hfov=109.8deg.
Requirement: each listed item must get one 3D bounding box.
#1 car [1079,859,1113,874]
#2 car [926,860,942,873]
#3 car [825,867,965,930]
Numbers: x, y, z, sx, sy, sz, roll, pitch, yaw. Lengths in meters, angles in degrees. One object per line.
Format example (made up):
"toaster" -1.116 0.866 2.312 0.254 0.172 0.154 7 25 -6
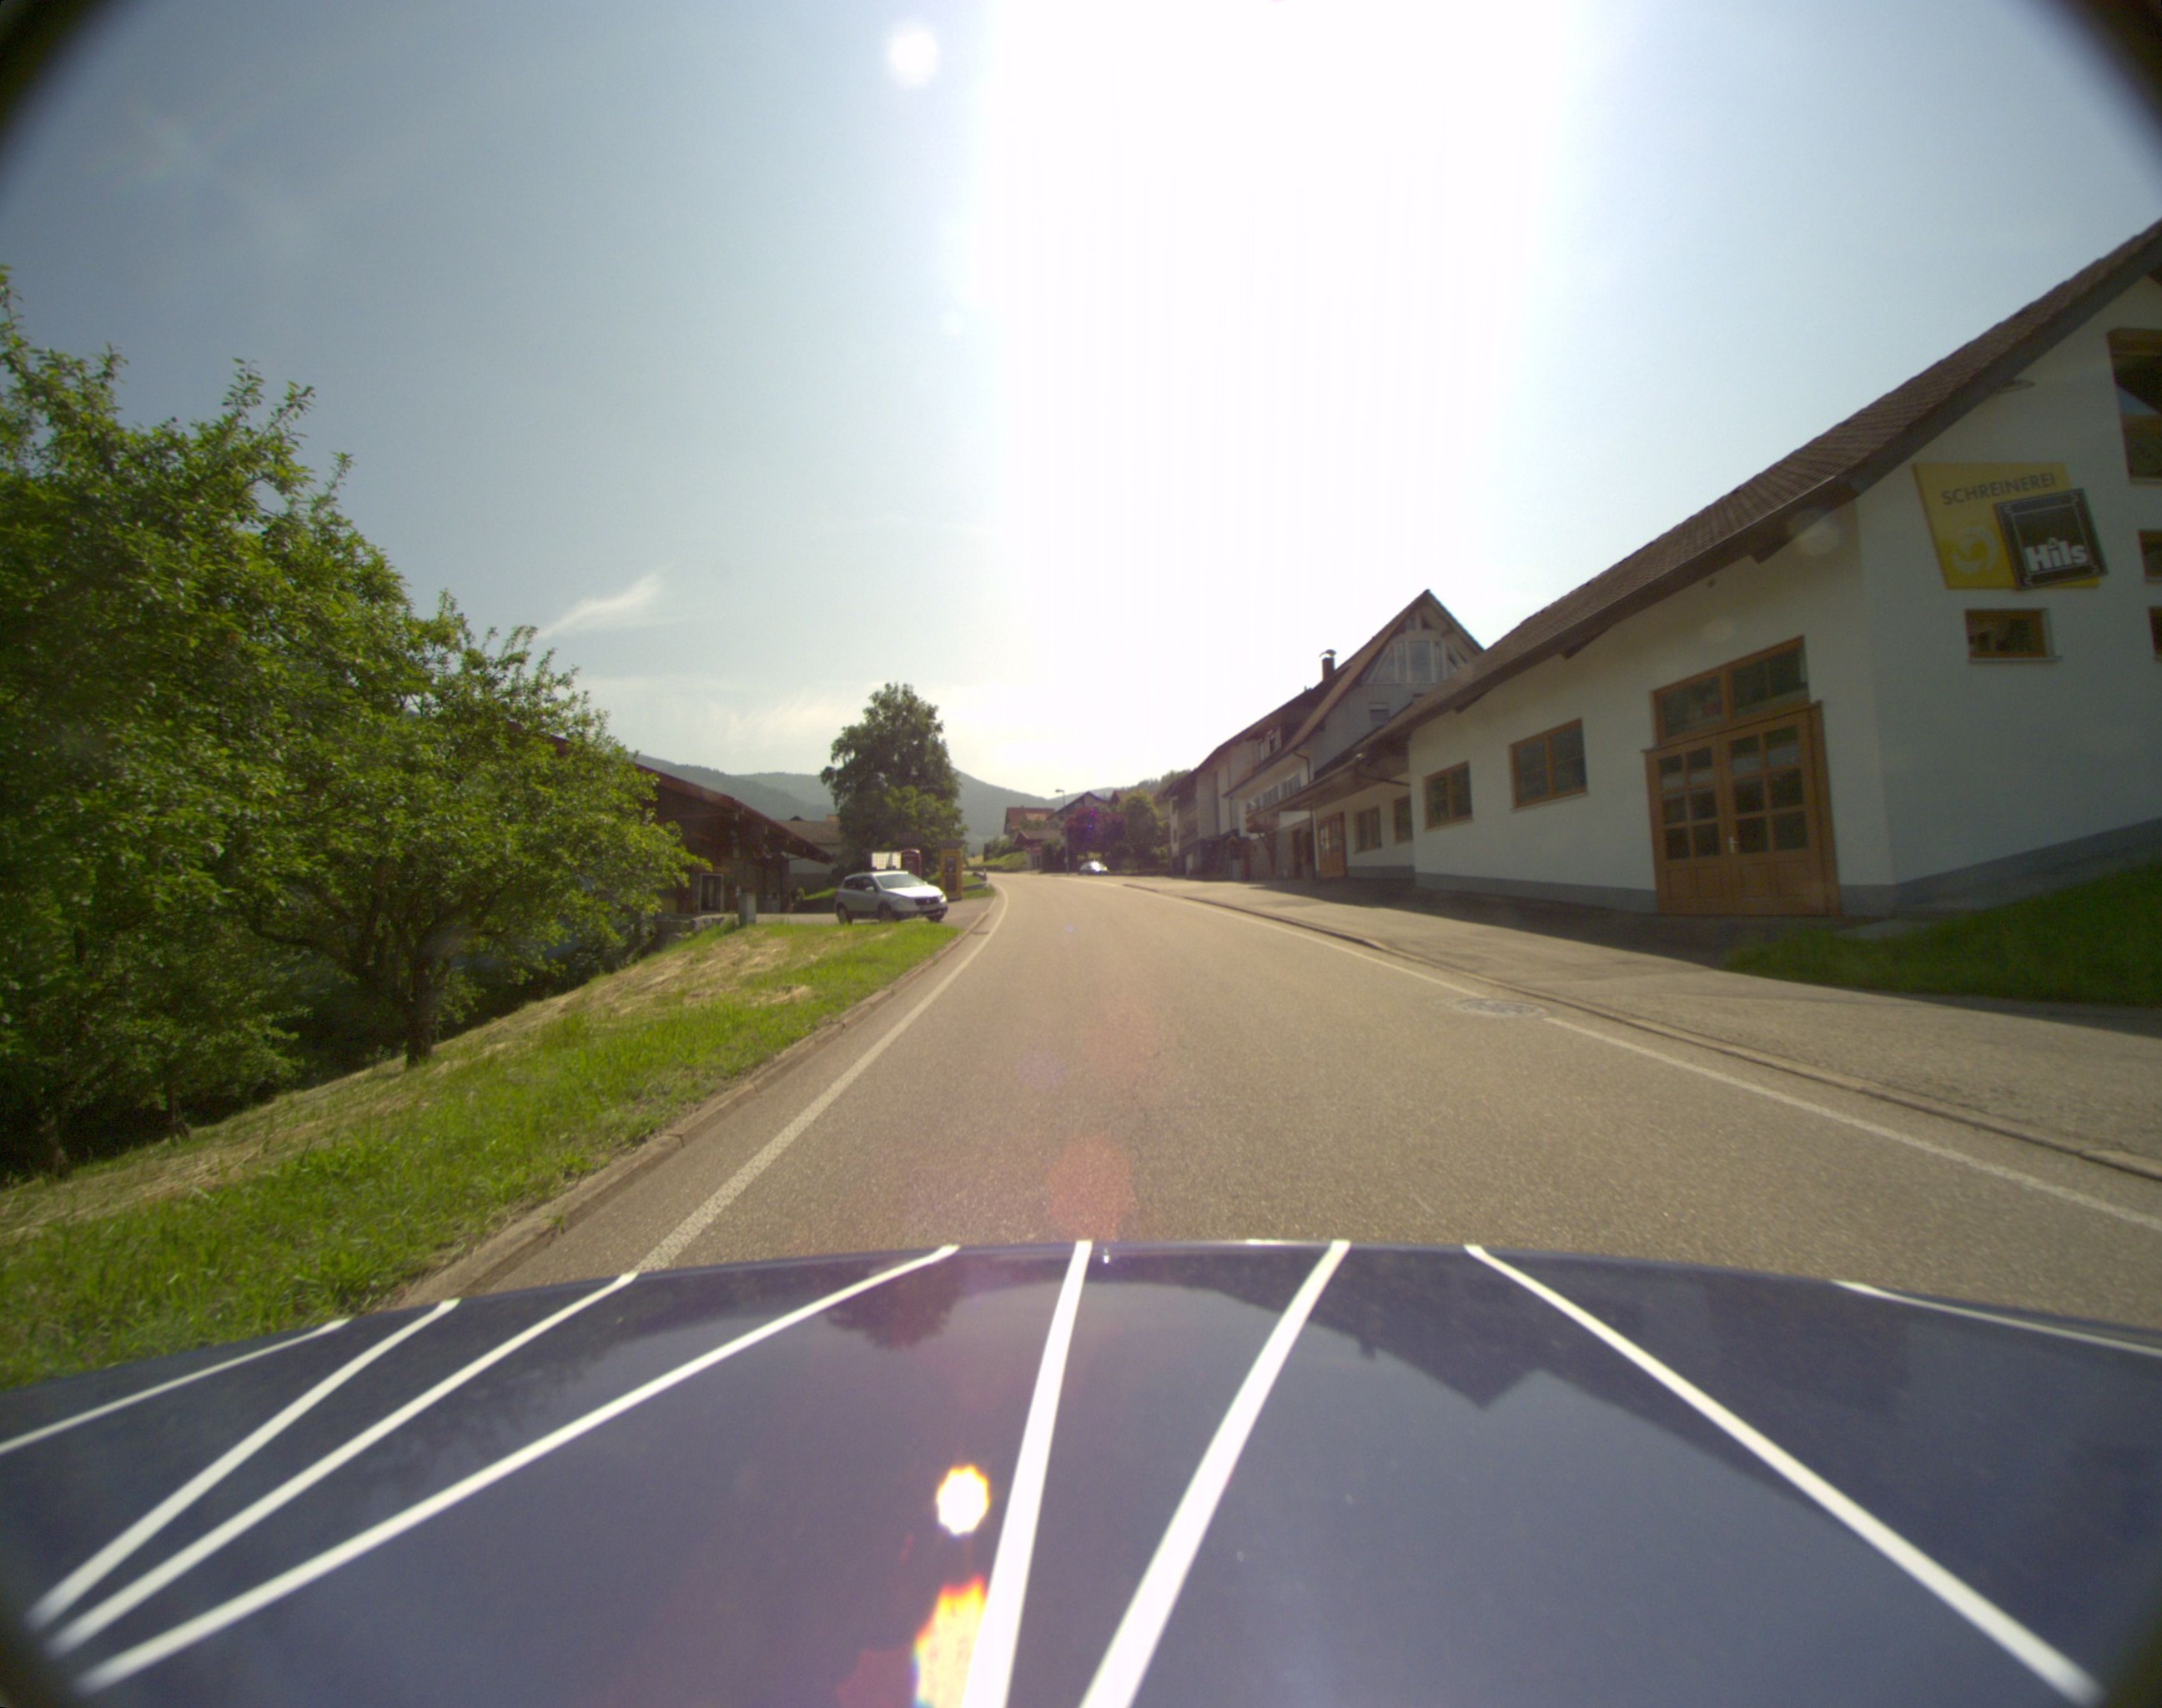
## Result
"car" 1.380 1.132 71.149 1.789 1.331 4.689 -1 0 -17
"car" -20.423 1.701 105.800 1.814 1.802 4.661 0 -1 -6
"car" -5.591 1.322 22.465 1.909 1.561 4.451 -5 0 -44
